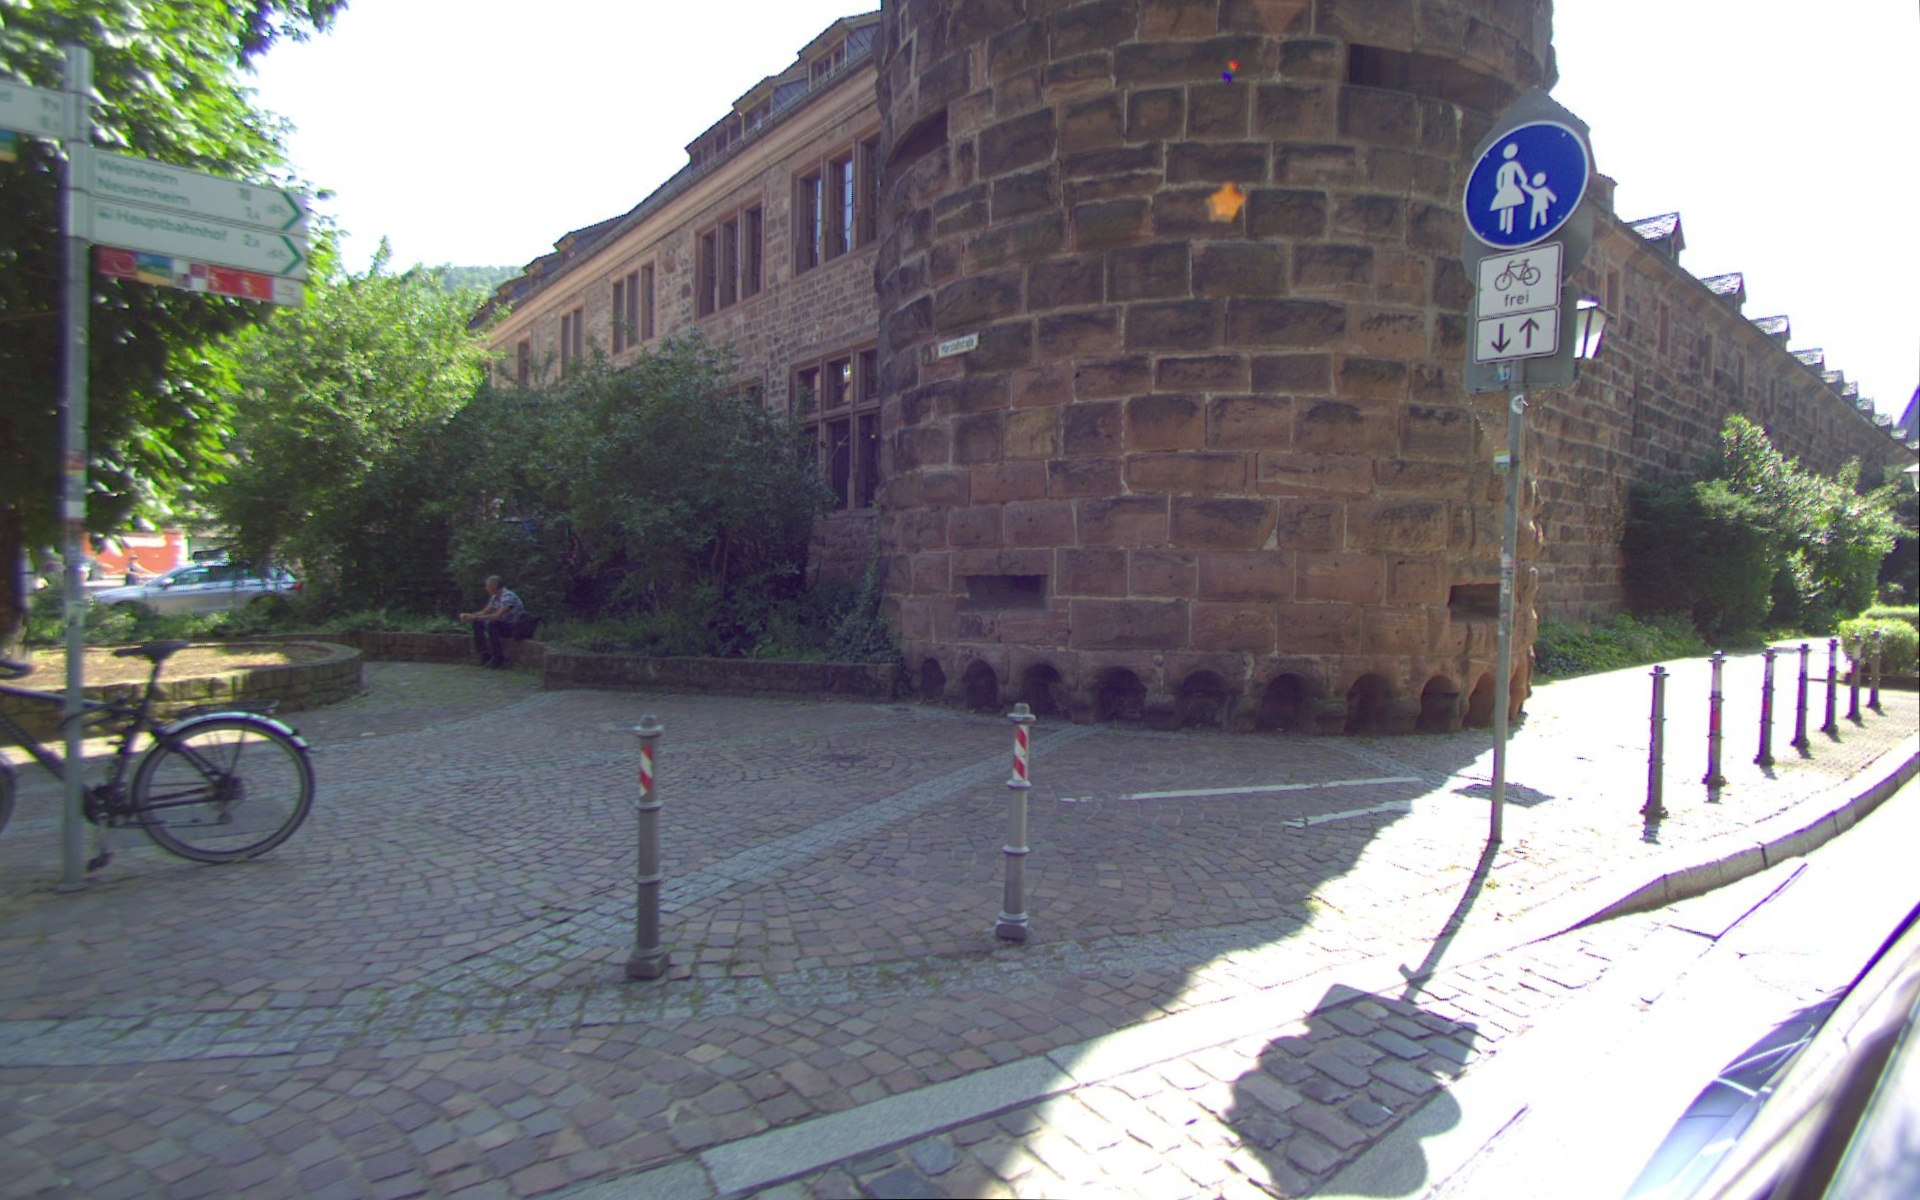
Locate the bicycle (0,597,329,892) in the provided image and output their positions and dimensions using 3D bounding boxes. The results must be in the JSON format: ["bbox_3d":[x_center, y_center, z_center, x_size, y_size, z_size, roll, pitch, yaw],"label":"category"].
[{"bbox_3d":[-3.775,0.596,4.400,1.733,1.219,0.194,0,0,-29],"label":"bicycle"}]

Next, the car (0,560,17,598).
[{"bbox_3d":[-38.113,-0.790,39.018,1.962,1.431,3.999,-2,0,-35],"label":"car"}]

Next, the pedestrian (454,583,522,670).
[{"bbox_3d":[-6.162,0.334,13.213,0.638,1.082,0.630,-1,0,-41],"label":"pedestrian"}]

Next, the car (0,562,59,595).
[{"bbox_3d":[-43.836,-0.991,47.425,1.963,1.431,3.998,-2,0,-36],"label":"car"}]

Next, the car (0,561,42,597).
[{"bbox_3d":[-40.802,-0.868,43.194,1.963,1.431,3.998,-2,0,-36],"label":"car"}]

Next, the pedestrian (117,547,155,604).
[{"bbox_3d":[-29.953,-0.893,36.802,1.006,2.039,0.977,-1,0,-38],"label":"pedestrian"}]

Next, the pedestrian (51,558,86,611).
[{"bbox_3d":[-27.349,-0.478,31.052,0.707,1.606,0.726,-1,2,-37],"label":"pedestrian"}]

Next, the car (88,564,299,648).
[{"bbox_3d":[-18.362,0.104,24.457,3.925,1.843,1.734,-2,0,-35],"label":"car"}]
